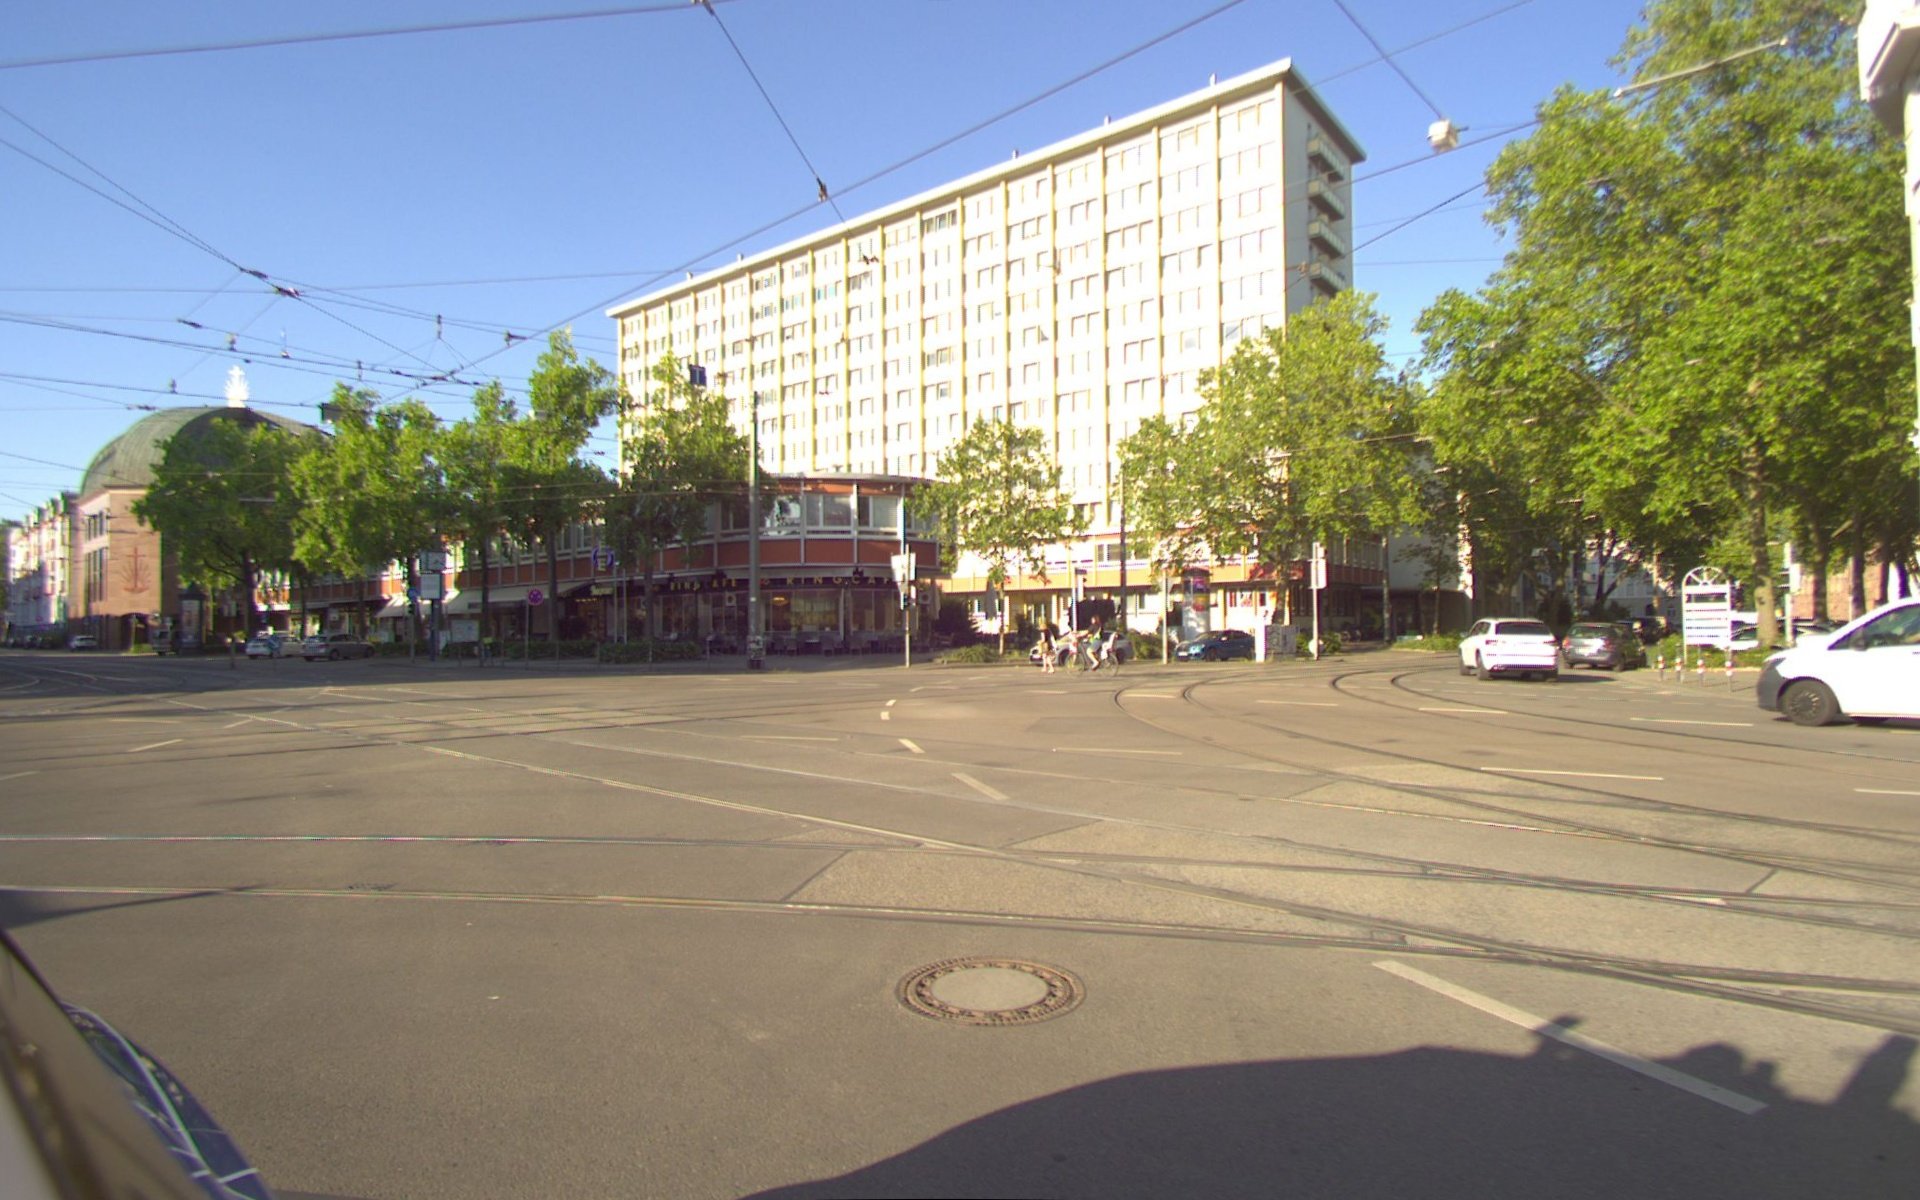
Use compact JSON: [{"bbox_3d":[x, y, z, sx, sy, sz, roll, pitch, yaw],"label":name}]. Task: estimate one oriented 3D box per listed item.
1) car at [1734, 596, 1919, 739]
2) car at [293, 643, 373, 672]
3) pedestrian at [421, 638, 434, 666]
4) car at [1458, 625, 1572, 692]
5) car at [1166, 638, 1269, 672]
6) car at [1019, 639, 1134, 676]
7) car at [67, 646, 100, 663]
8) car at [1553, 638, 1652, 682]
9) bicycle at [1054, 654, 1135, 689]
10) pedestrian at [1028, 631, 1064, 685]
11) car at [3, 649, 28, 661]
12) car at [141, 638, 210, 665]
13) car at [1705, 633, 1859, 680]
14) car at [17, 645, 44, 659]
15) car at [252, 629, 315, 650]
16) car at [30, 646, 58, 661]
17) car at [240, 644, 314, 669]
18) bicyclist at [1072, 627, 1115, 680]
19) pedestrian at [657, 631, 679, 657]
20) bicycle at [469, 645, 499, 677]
[{"bbox_3d":[13.569,0.865,13.027,1.965,1.851,5.363,1,-2,-27],"label":"car"},{"bbox_3d":[-36.386,3.301,58.870,1.778,1.566,3.987,-2,-2,10],"label":"car"},{"bbox_3d":[-33.567,3.267,63.783,0.626,1.782,0.770,1,-3,-32],"label":"pedestrian"},{"bbox_3d":[14.896,1.593,27.410,1.985,1.632,4.479,-2,-4,20],"label":"car"},{"bbox_3d":[11.468,2.467,45.024,4.380,1.432,1.896,2,-4,-32],"label":"car"},{"bbox_3d":[4.735,2.346,40.995,4.380,1.432,1.896,2,-4,-32],"label":"car"},{"bbox_3d":[-88.338,5.453,101.975,3.996,1.615,1.886,-3,-3,40],"label":"car"},{"bbox_3d":[22.511,2.100,35.396,4.389,1.432,1.892,3,-6,-44],"label":"car"},{"bbox_3d":[3.801,2.010,28.767,0.830,0.934,2.267,3,-4,-42],"label":"bicycle"},{"bbox_3d":[2.776,1.869,32.547,0.857,1.695,0.697,3,-7,-40],"label":"pedestrian"},{"bbox_3d":[-127.569,7.429,136.705,3.996,1.615,1.940,-3,-3,40],"label":"car"},{"bbox_3d":[-59.648,3.901,77.032,1.888,1.979,3.991,-2,-2,7],"label":"car"},{"bbox_3d":[28.318,1.948,34.968,3.998,1.522,1.776,-3,-2,41],"label":"car"},{"bbox_3d":[-113.792,6.352,123.841,3.996,1.615,1.940,-3,-3,40],"label":"car"},{"bbox_3d":[-68.392,4.017,102.414,1.998,2.029,4.920,-4,-5,39],"label":"car"},{"bbox_3d":[-108.528,6.365,119.935,3.996,1.615,1.940,-3,-3,40],"label":"car"},{"bbox_3d":[-44.495,3.669,66.014,1.778,1.486,3.987,-2,-2,10],"label":"car"},{"bbox_3d":[3.792,1.515,28.804,0.830,1.478,0.897,3,-4,-42],"label":"bicyclist"},{"bbox_3d":[-14.655,2.216,50.807,0.826,1.273,0.909,1,-4,-33],"label":"pedestrian"},{"bbox_3d":[-19.510,2.510,41.425,0.574,1.244,1.858,1,-3,-43],"label":"bicycle"}]
